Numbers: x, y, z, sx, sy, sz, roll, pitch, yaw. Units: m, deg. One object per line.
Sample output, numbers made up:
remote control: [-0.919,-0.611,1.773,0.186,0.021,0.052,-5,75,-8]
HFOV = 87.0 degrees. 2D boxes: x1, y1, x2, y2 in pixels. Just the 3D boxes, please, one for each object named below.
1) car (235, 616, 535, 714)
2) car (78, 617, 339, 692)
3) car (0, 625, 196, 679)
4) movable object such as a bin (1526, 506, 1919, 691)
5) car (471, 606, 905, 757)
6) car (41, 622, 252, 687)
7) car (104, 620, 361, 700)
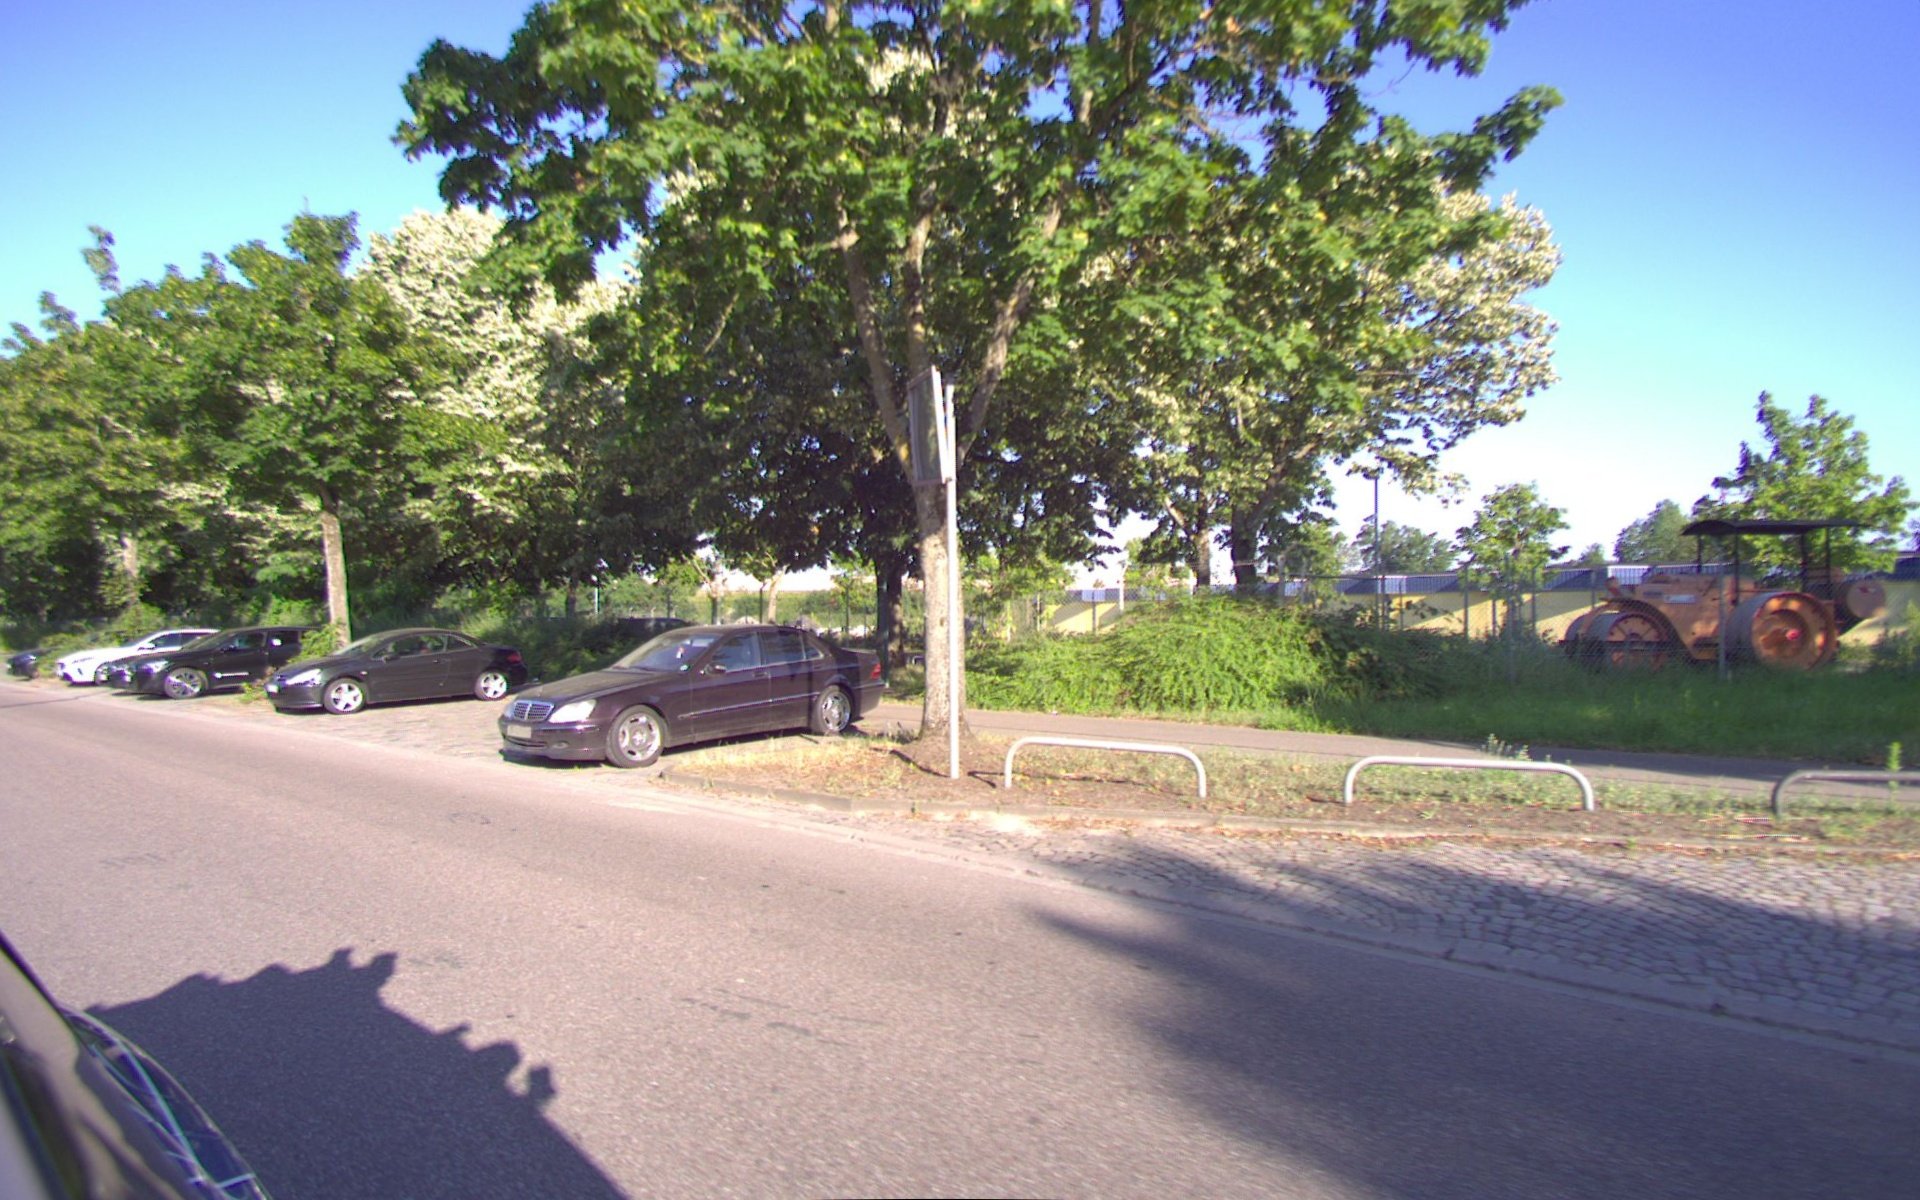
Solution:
car: [-10.530,1.103,18.832,1.997,1.473,4.437,-2,0,38]
car: [-18.456,1.260,25.097,1.995,1.542,4.809,-2,0,34]
car: [-27.035,1.573,31.707,1.912,1.432,4.608,-2,0,36]
movable object such as a bin: [11.950,0.015,15.948,4.740,2.685,2.163,0,-2,3]
car: [-3.052,0.869,12.454,1.997,1.473,4.987,-2,-2,38]
car: [-22.558,1.447,28.193,1.998,1.542,4.245,-2,0,39]
car: [-16.639,1.293,23.354,1.997,1.542,4.437,-2,0,38]
